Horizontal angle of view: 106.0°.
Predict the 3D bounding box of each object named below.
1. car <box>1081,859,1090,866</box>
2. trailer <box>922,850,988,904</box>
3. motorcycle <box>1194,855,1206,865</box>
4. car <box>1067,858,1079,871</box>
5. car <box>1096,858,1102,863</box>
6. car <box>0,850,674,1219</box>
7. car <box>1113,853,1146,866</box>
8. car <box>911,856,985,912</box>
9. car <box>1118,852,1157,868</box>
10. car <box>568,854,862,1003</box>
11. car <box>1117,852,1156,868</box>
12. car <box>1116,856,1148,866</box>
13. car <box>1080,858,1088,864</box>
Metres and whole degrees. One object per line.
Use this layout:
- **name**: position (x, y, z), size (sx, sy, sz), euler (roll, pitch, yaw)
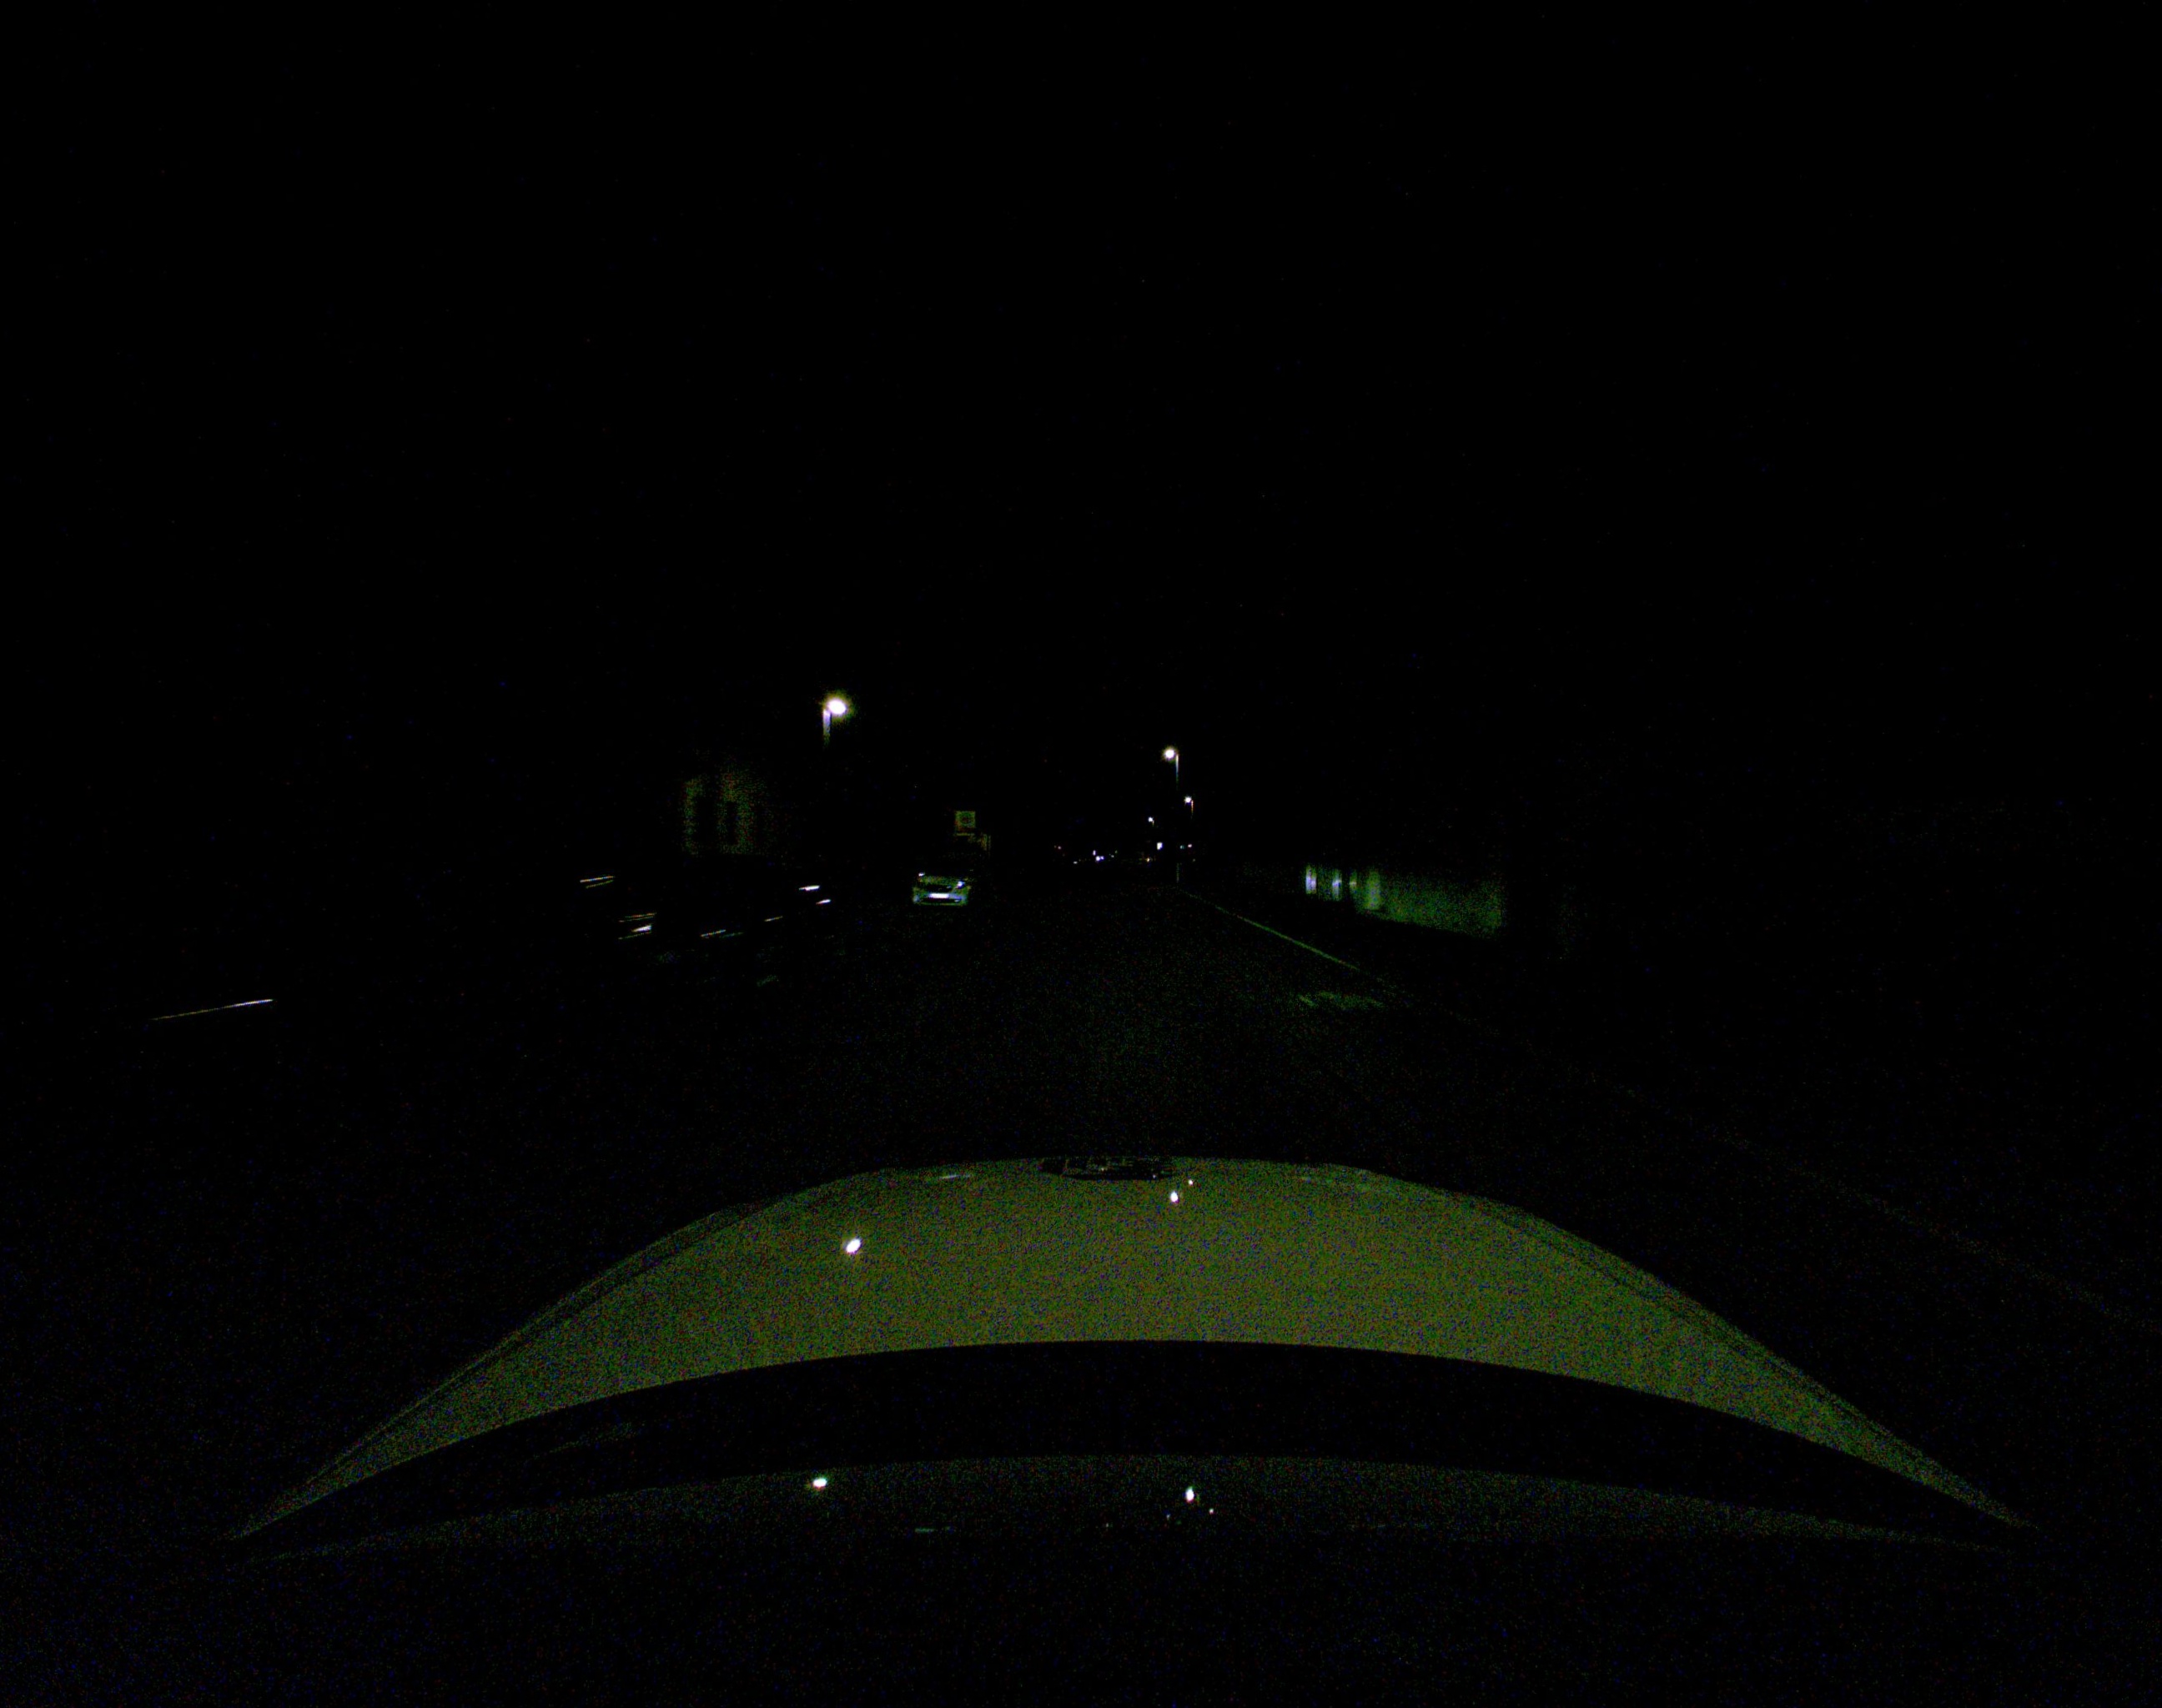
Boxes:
- **car**: position (0.945, 1.752, 166.536), size (1.677, 1.331, 3.599), euler (-1, 0, 0)
- **trailer**: position (-4.241, 0.753, 27.854), size (1.441, 1.688, 3.430), euler (2, 0, 4)
- **motorcycle**: position (17.030, 0.885, 116.515), size (1.060, 1.327, 2.722), euler (0, 0, 25)
- **car**: position (-1.349, 1.699, 134.369), size (1.819, 1.986, 4.465), euler (1, 0, 0)
- **car**: position (5.549, 2.000, 253.138), size (1.921, 1.649, 3.821), euler (-2, 0, 0)
- **car**: position (-4.735, 0.753, 5.493), size (1.681, 1.510, 4.281), euler (0, 0, 2)
- **car**: position (8.094, 0.942, 135.470), size (5.149, 1.887, 2.108), euler (-2, 0, 10)
- **car**: position (-3.959, 0.857, 24.614), size (1.666, 1.522, 2.978), euler (2, 0, 0)
- **car**: position (7.863, 0.799, 113.760), size (5.166, 2.013, 2.101), euler (-2, 0, 0)
- **car**: position (-4.373, 0.777, 10.594), size (1.760, 1.519, 4.280), euler (1, 0, 2)
- **car**: position (7.509, 0.825, 110.699), size (5.166, 2.013, 2.101), euler (-2, 0, 0)
- **car**: position (8.316, 1.134, 132.745), size (5.166, 1.469, 2.101), euler (-2, 0, 0)
- **car**: position (0.677, 1.595, 183.321), size (1.677, 1.331, 3.599), euler (-1, 0, 0)
